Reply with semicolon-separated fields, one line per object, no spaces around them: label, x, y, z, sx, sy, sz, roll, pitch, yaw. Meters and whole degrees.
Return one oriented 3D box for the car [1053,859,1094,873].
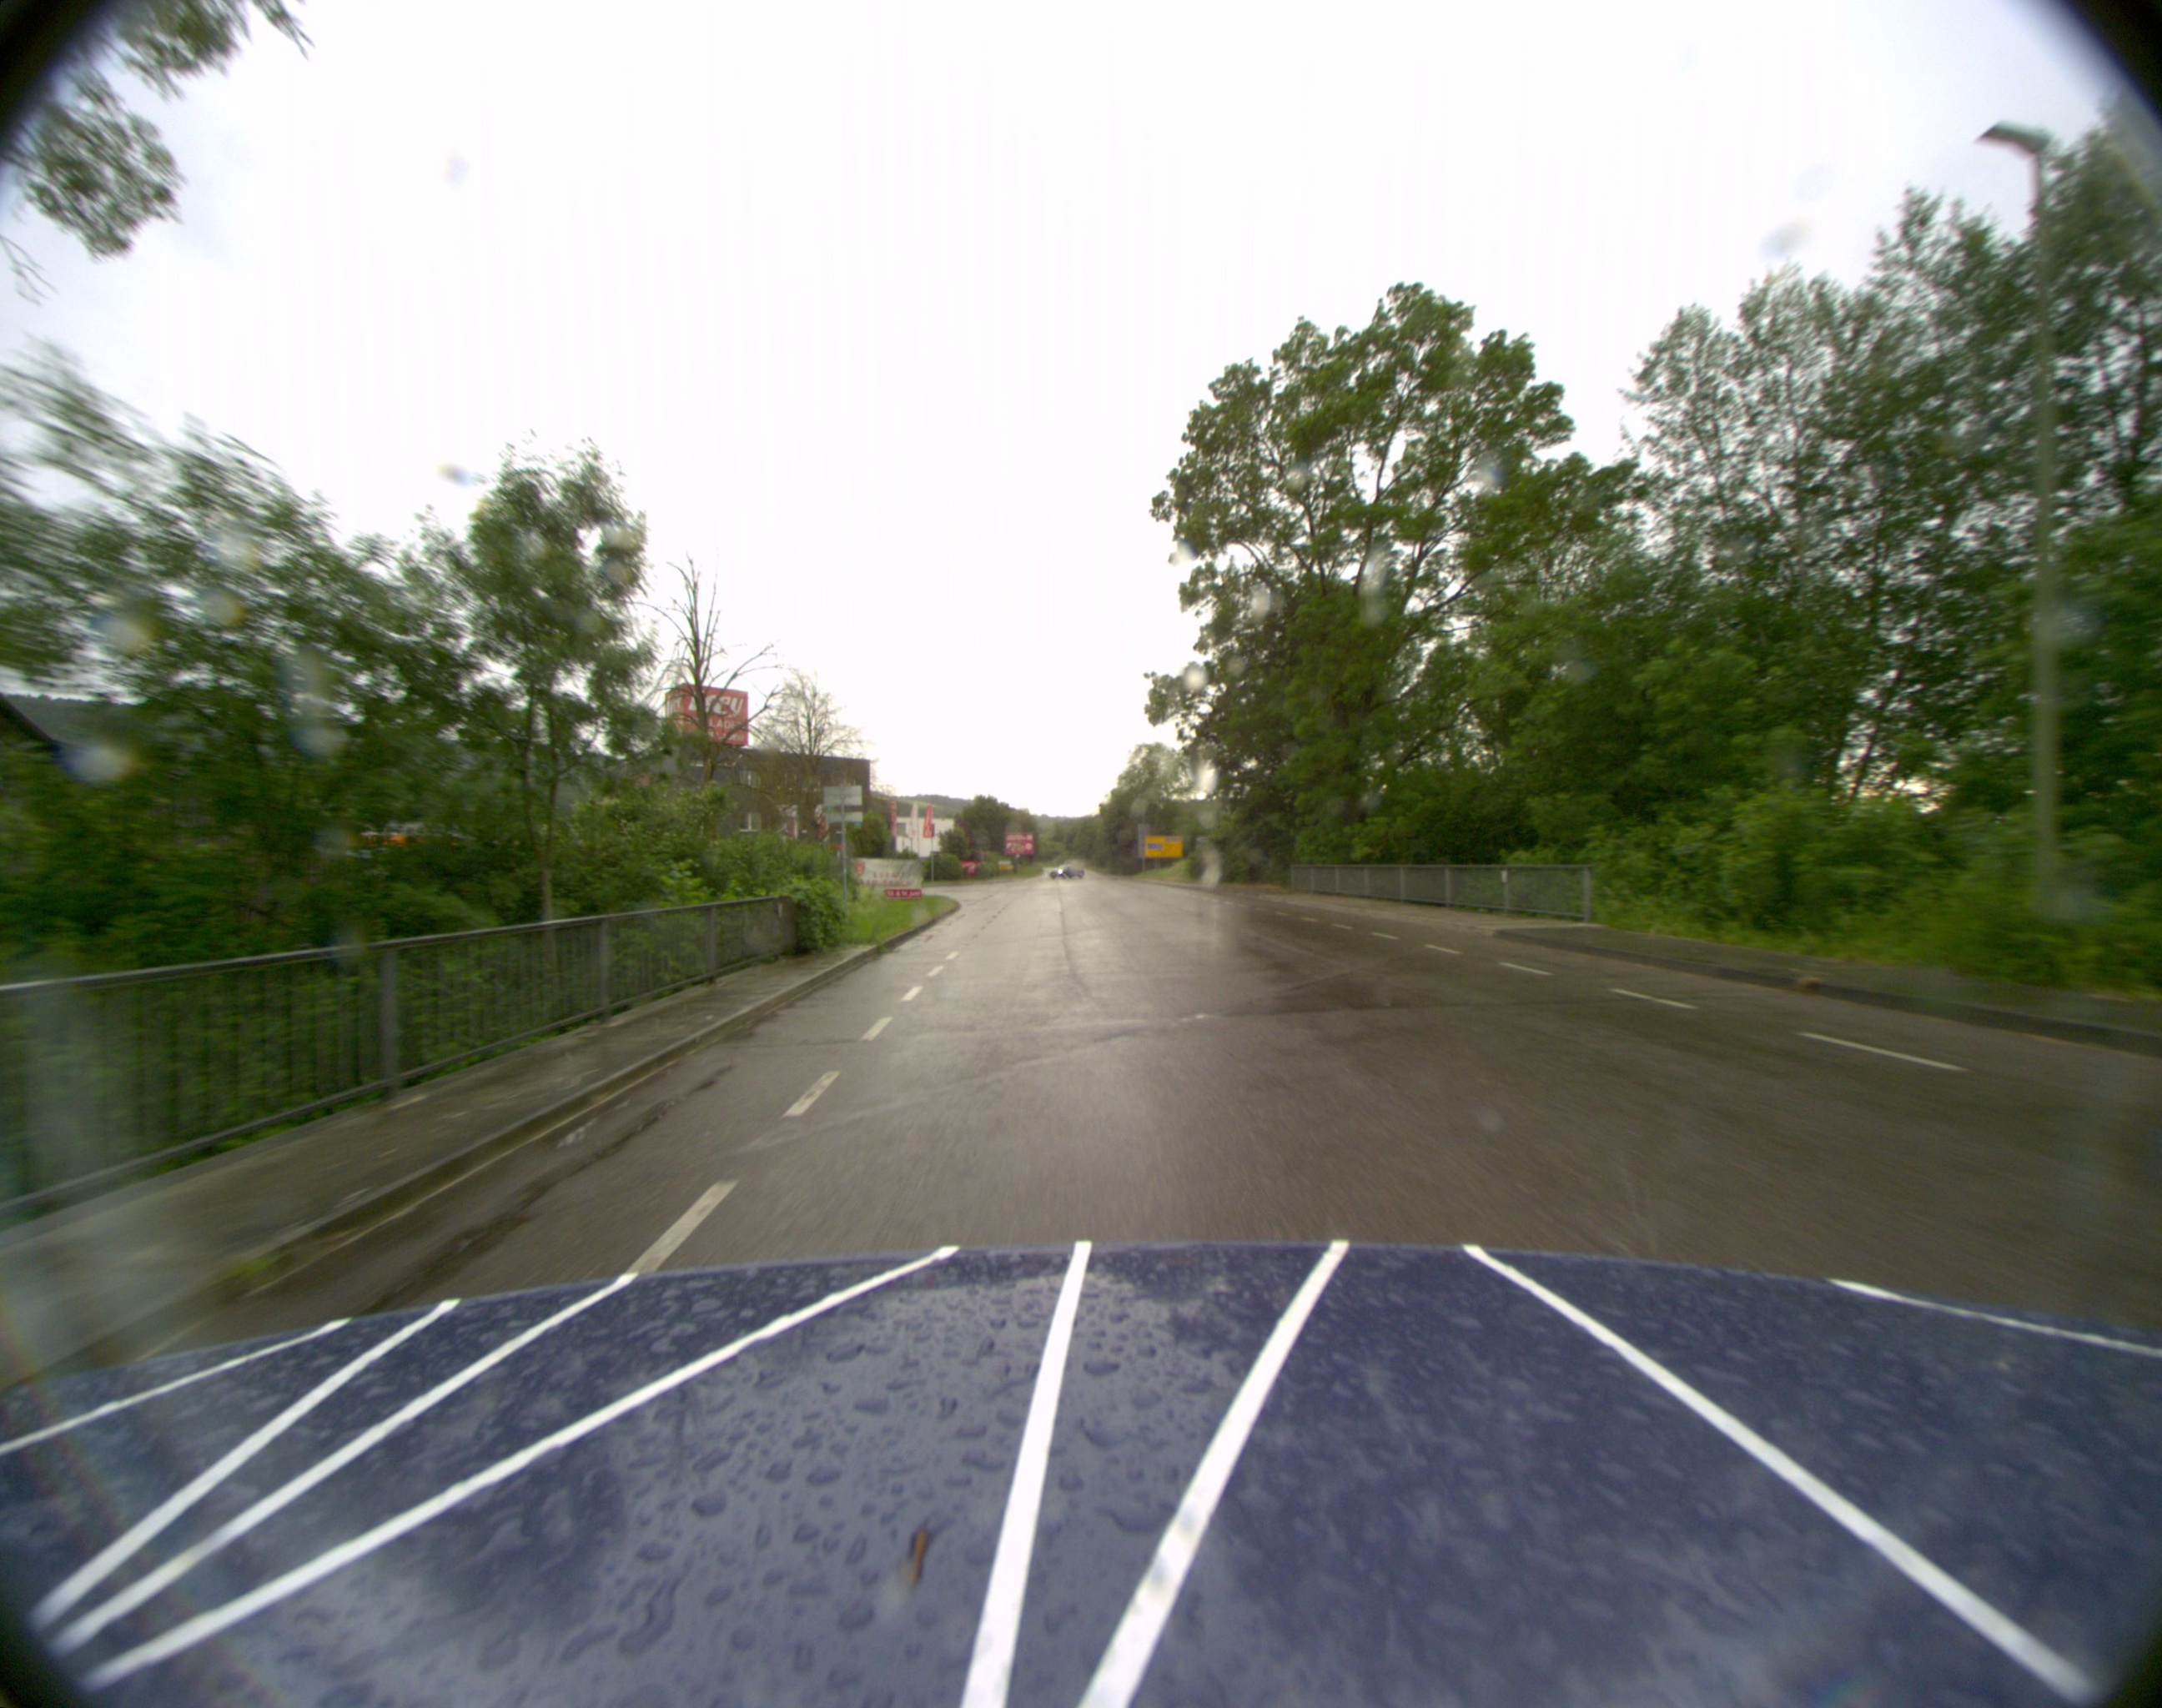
car;-0.780;1.252;81.277;4.129;1.481;1.852;0;0;-42

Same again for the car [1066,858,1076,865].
car;-2.134;1.543;162.847;1.834;1.514;4.000;-1;0;0
